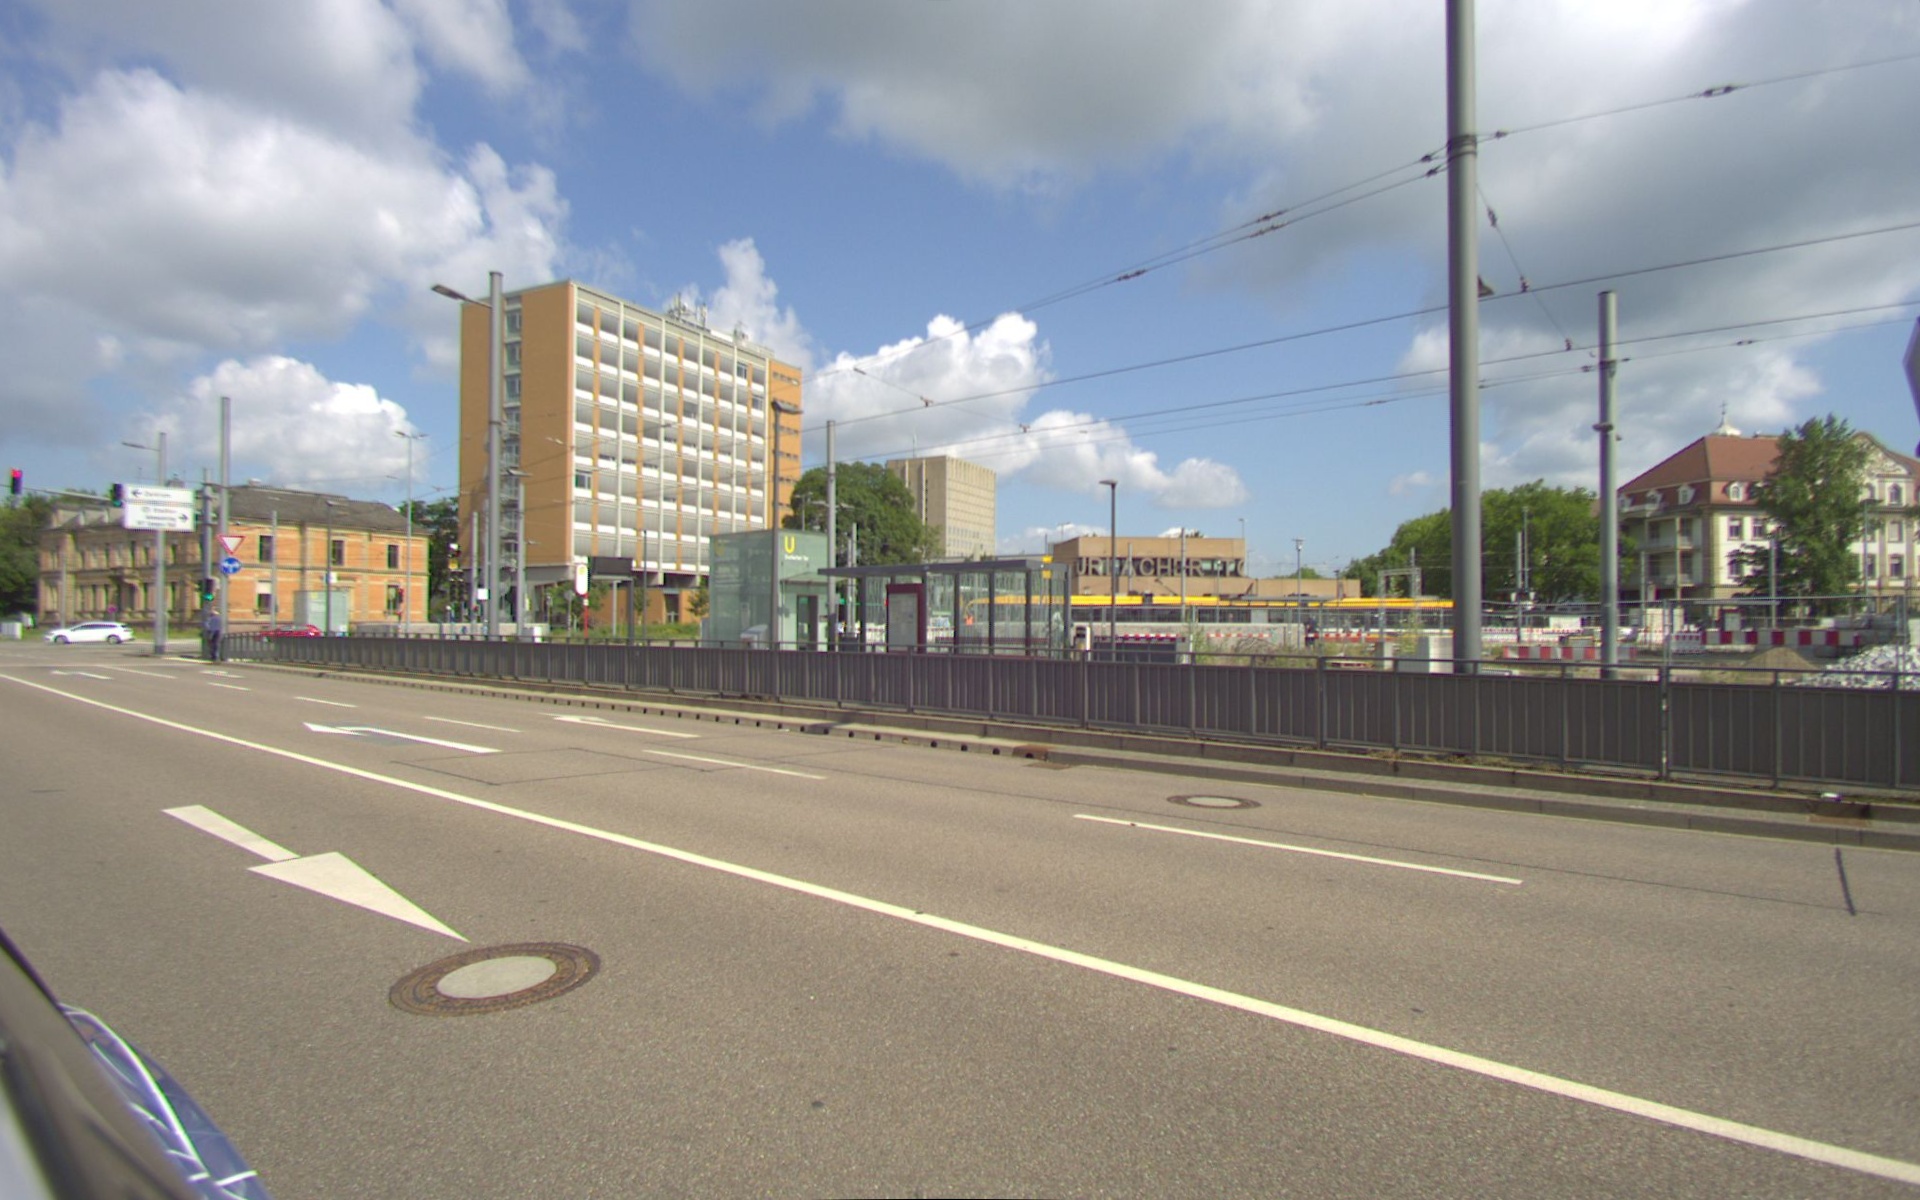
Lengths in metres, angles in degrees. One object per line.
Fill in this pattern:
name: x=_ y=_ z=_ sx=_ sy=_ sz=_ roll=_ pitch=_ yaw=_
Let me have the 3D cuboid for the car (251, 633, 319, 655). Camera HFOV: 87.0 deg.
car: x=-48.667 y=3.177 z=73.002 sx=3.998 sy=1.479 sz=1.650 roll=0 pitch=-4 yaw=-36

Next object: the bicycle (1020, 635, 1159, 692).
bicycle: x=3.477 y=1.688 z=27.491 sx=3.689 sy=1.438 sz=1.182 roll=-1 pitch=-2 yaw=39

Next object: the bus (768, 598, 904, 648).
bus: x=-9.483 y=1.885 z=79.576 sx=2.911 sy=3.648 sz=12.220 roll=-1 pitch=-2 yaw=37

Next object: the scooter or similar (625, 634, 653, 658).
scooter or similar: x=-16.037 y=2.290 z=50.566 sx=1.164 sy=1.175 sz=0.804 roll=-1 pitch=-2 yaw=31

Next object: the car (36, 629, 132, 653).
car: x=-57.917 y=2.731 z=67.050 sx=4.596 sy=1.440 sz=1.768 roll=0 pitch=-4 yaw=-33

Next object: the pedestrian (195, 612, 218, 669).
pedestrian: x=-27.308 y=1.456 z=36.688 sx=0.576 sy=2.029 sz=0.423 roll=-1 pitch=-2 yaw=29

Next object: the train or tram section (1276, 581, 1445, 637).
train or tram section: x=27.942 y=0.670 z=70.798 sx=10.444 sy=3.507 sz=3.328 roll=-1 pitch=-3 yaw=-6

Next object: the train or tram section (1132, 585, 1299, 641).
train or tram section: x=17.491 y=0.924 z=69.715 sx=10.444 sy=3.507 sz=3.328 roll=-1 pitch=-3 yaw=-6

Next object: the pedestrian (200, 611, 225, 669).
pedestrian: x=-26.789 y=1.431 z=36.267 sx=0.513 sy=2.029 sz=0.498 roll=-1 pitch=-2 yaw=29

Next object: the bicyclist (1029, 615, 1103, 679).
bicyclist: x=2.922 y=1.291 z=27.953 sx=1.682 sy=1.696 sz=1.166 roll=-1 pitch=-2 yaw=38

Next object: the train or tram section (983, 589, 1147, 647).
train or tram section: x=7.048 y=1.241 z=68.593 sx=10.444 sy=3.507 sz=3.328 roll=-1 pitch=-3 yaw=-6

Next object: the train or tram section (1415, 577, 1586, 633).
train or tram section: x=38.263 y=0.393 z=71.833 sx=10.444 sy=3.507 sz=3.328 roll=-1 pitch=-3 yaw=-6

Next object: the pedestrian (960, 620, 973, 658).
pedestrian: x=0.309 y=1.890 z=48.832 sx=0.553 sy=1.808 sz=0.721 roll=0 pitch=-2 yaw=-7
